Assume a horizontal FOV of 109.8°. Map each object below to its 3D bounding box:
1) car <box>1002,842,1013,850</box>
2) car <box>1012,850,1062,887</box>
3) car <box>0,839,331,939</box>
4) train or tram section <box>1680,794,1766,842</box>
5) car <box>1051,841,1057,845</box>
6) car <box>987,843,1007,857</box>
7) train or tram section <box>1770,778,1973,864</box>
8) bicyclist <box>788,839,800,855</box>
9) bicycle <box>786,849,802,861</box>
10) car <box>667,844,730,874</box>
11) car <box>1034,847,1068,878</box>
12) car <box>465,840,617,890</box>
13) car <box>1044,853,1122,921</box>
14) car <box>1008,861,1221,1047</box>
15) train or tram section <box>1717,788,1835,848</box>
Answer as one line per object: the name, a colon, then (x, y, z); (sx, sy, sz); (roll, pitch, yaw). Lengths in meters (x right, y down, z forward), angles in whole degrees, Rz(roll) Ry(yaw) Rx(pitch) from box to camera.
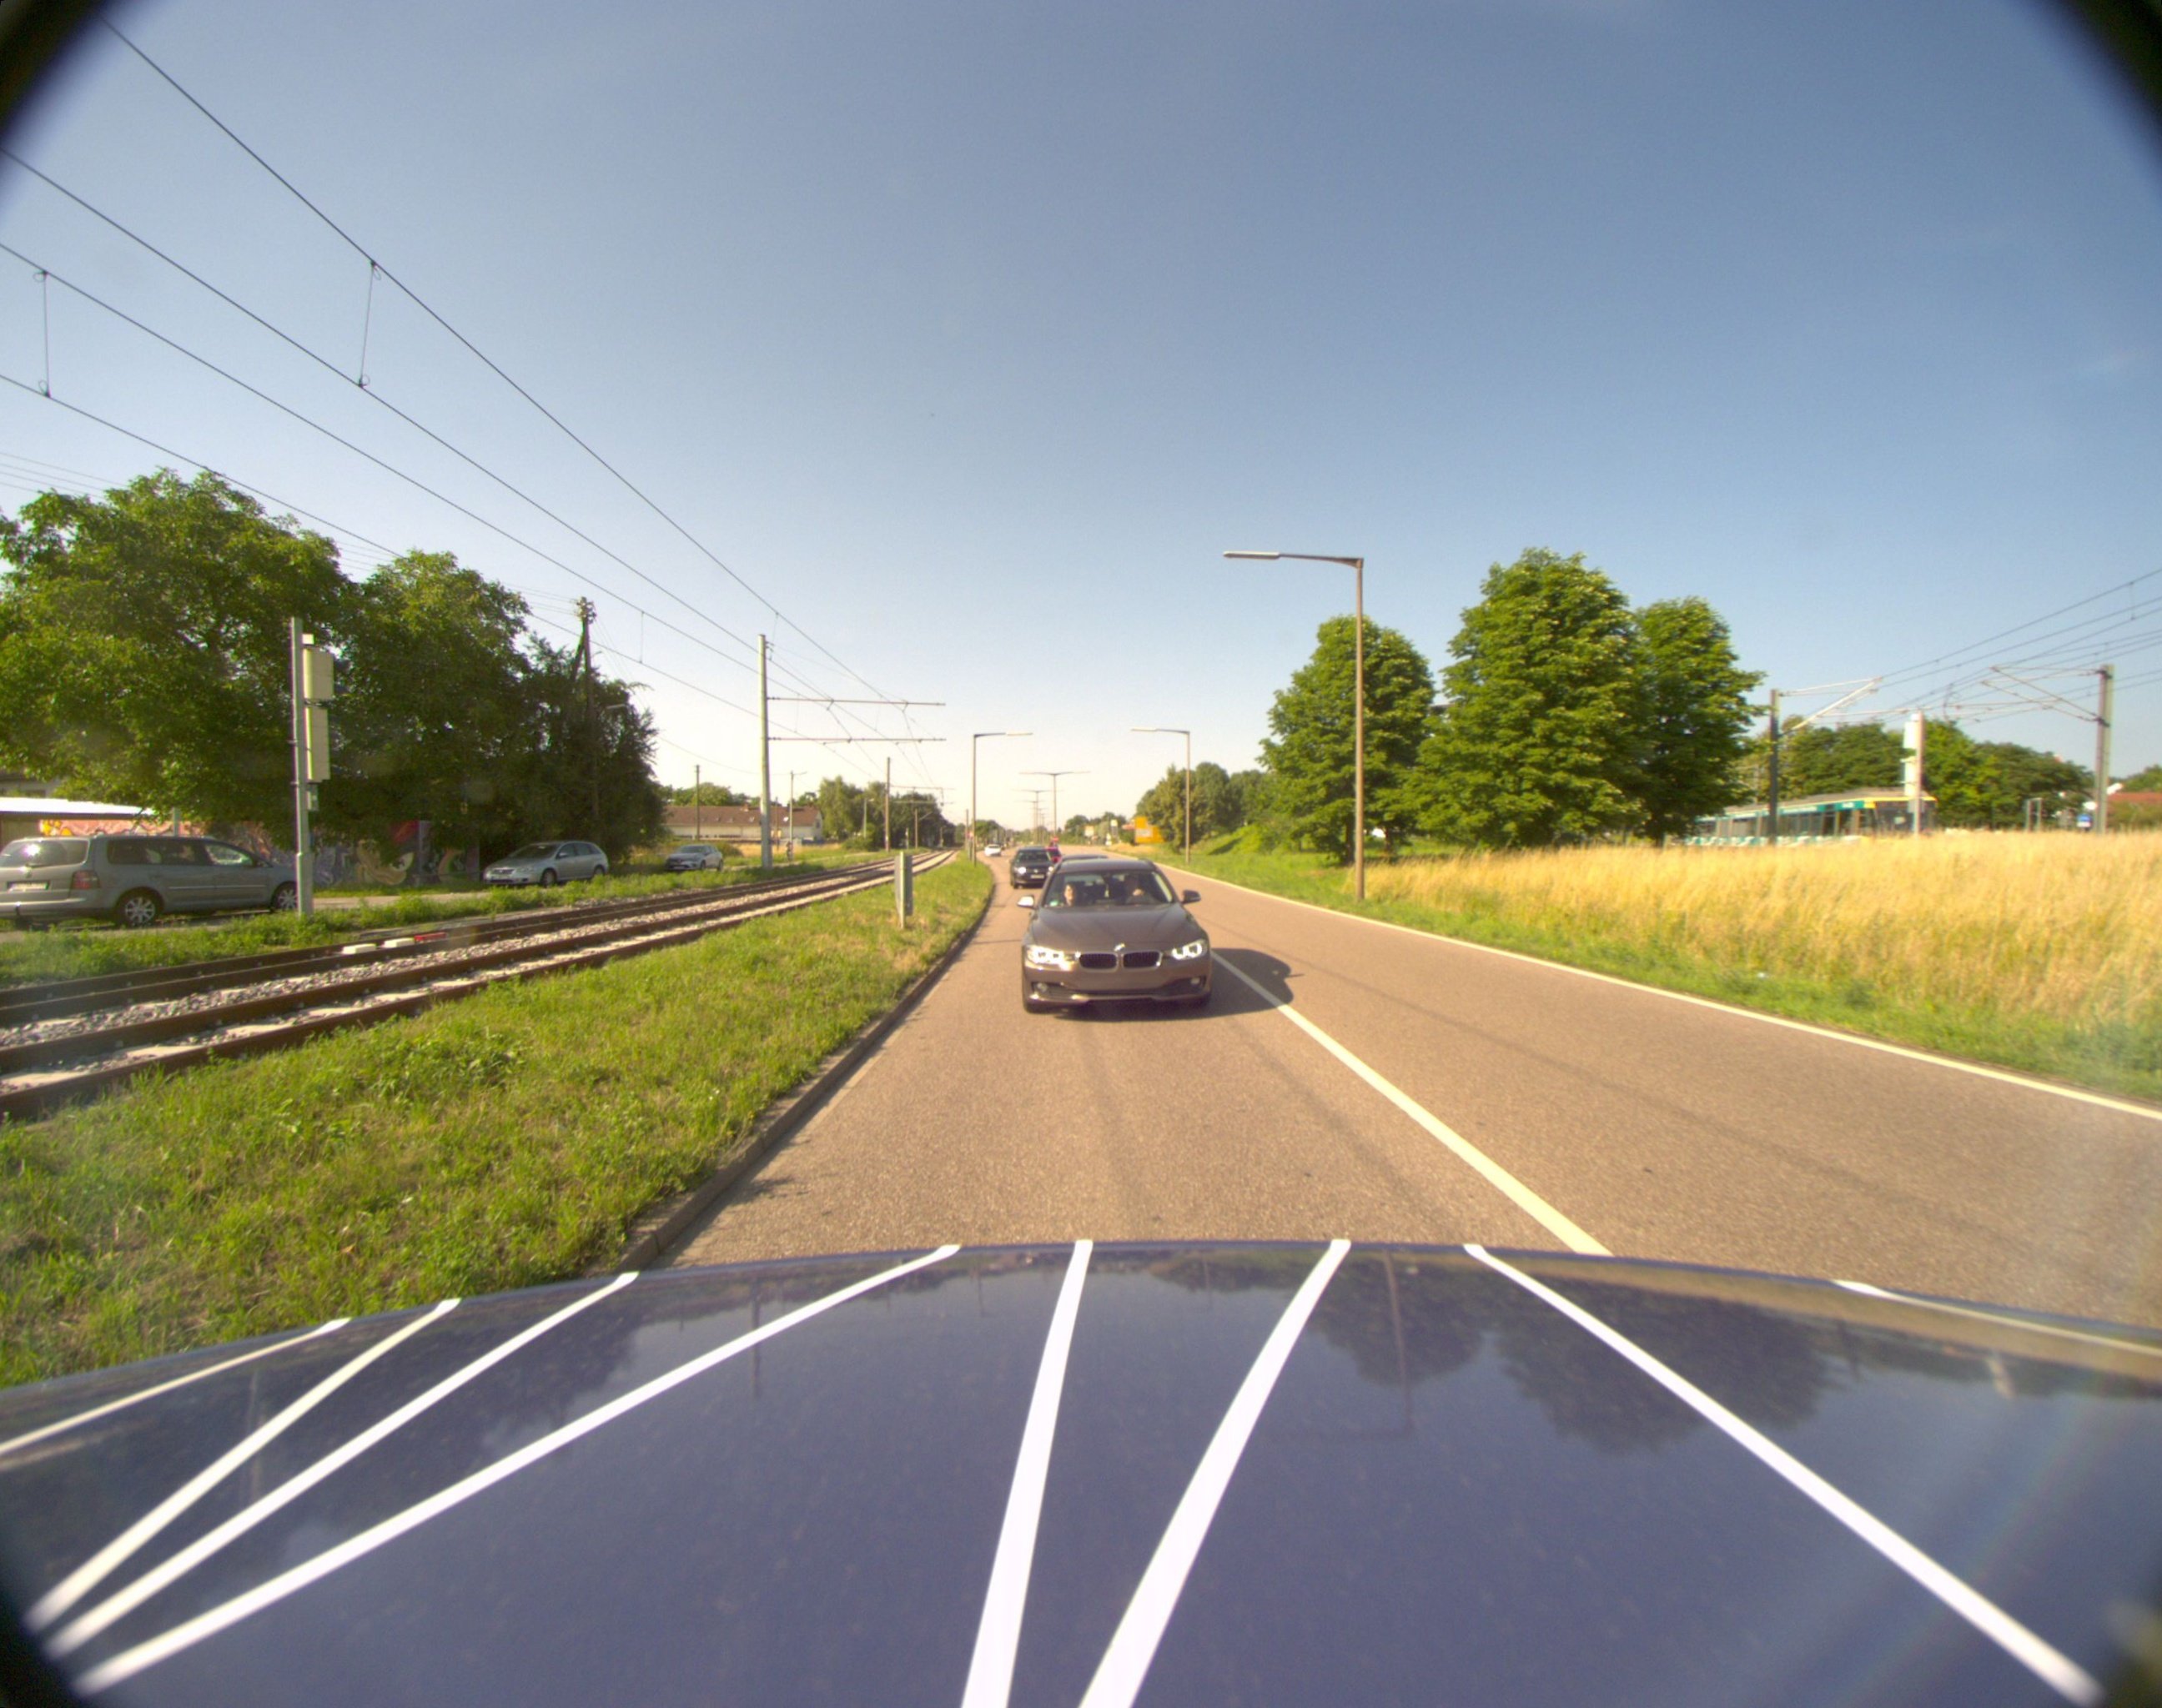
car: (-14.165, -1.576, 146.086); (1.838, 1.504, 4.149); (-2, 1, -8)
car: (-1.858, 0.556, 31.439); (1.848, 1.348, 4.152); (-2, 1, -4)
car: (-17.034, 0.529, 14.392); (1.527, 1.601, 4.481); (0, 1, -6)
train or tram section: (51.274, -2.812, 61.065); (2.952, 3.465, 12.185); (-1, 1, 29)
car: (-8.624, -3.518, 240.958); (1.564, 1.369, 3.381); (-3, 3, -10)
car: (-10.120, -0.472, 91.263); (1.970, 1.609, 4.303); (-1, 1, -11)
train or tram section: (39.296, -1.781, 38.679); (2.908, 3.549, 14.280); (-1, 3, 28)
bicyclist: (-21.454, -0.529, 56.794); (0.641, 1.226, 0.791); (-2, 1, -5)
bicycle: (-21.443, 0.074, 56.810); (0.644, 0.904, 1.812); (-2, 1, -5)
car: (-19.356, 0.198, 38.622); (1.539, 1.440, 4.127); (0, 1, -7)
car: (-1.689, 0.404, 41.384); (1.608, 1.504, 4.265); (-2, 1, -4)
car: (-18.466, 0.306, 26.314); (1.912, 1.581, 4.726); (0, 1, -1)
car: (0.107, 0.747, 19.351); (1.710, 1.444, 4.590); (-2, 1, 2)
car: (0.283, 0.862, 8.364); (1.747, 1.444, 3.946); (-2, 1, 0)
train or tram section: (45.533, -2.375, 50.285); (2.919, 3.435, 12.184); (-1, 2, 28)
